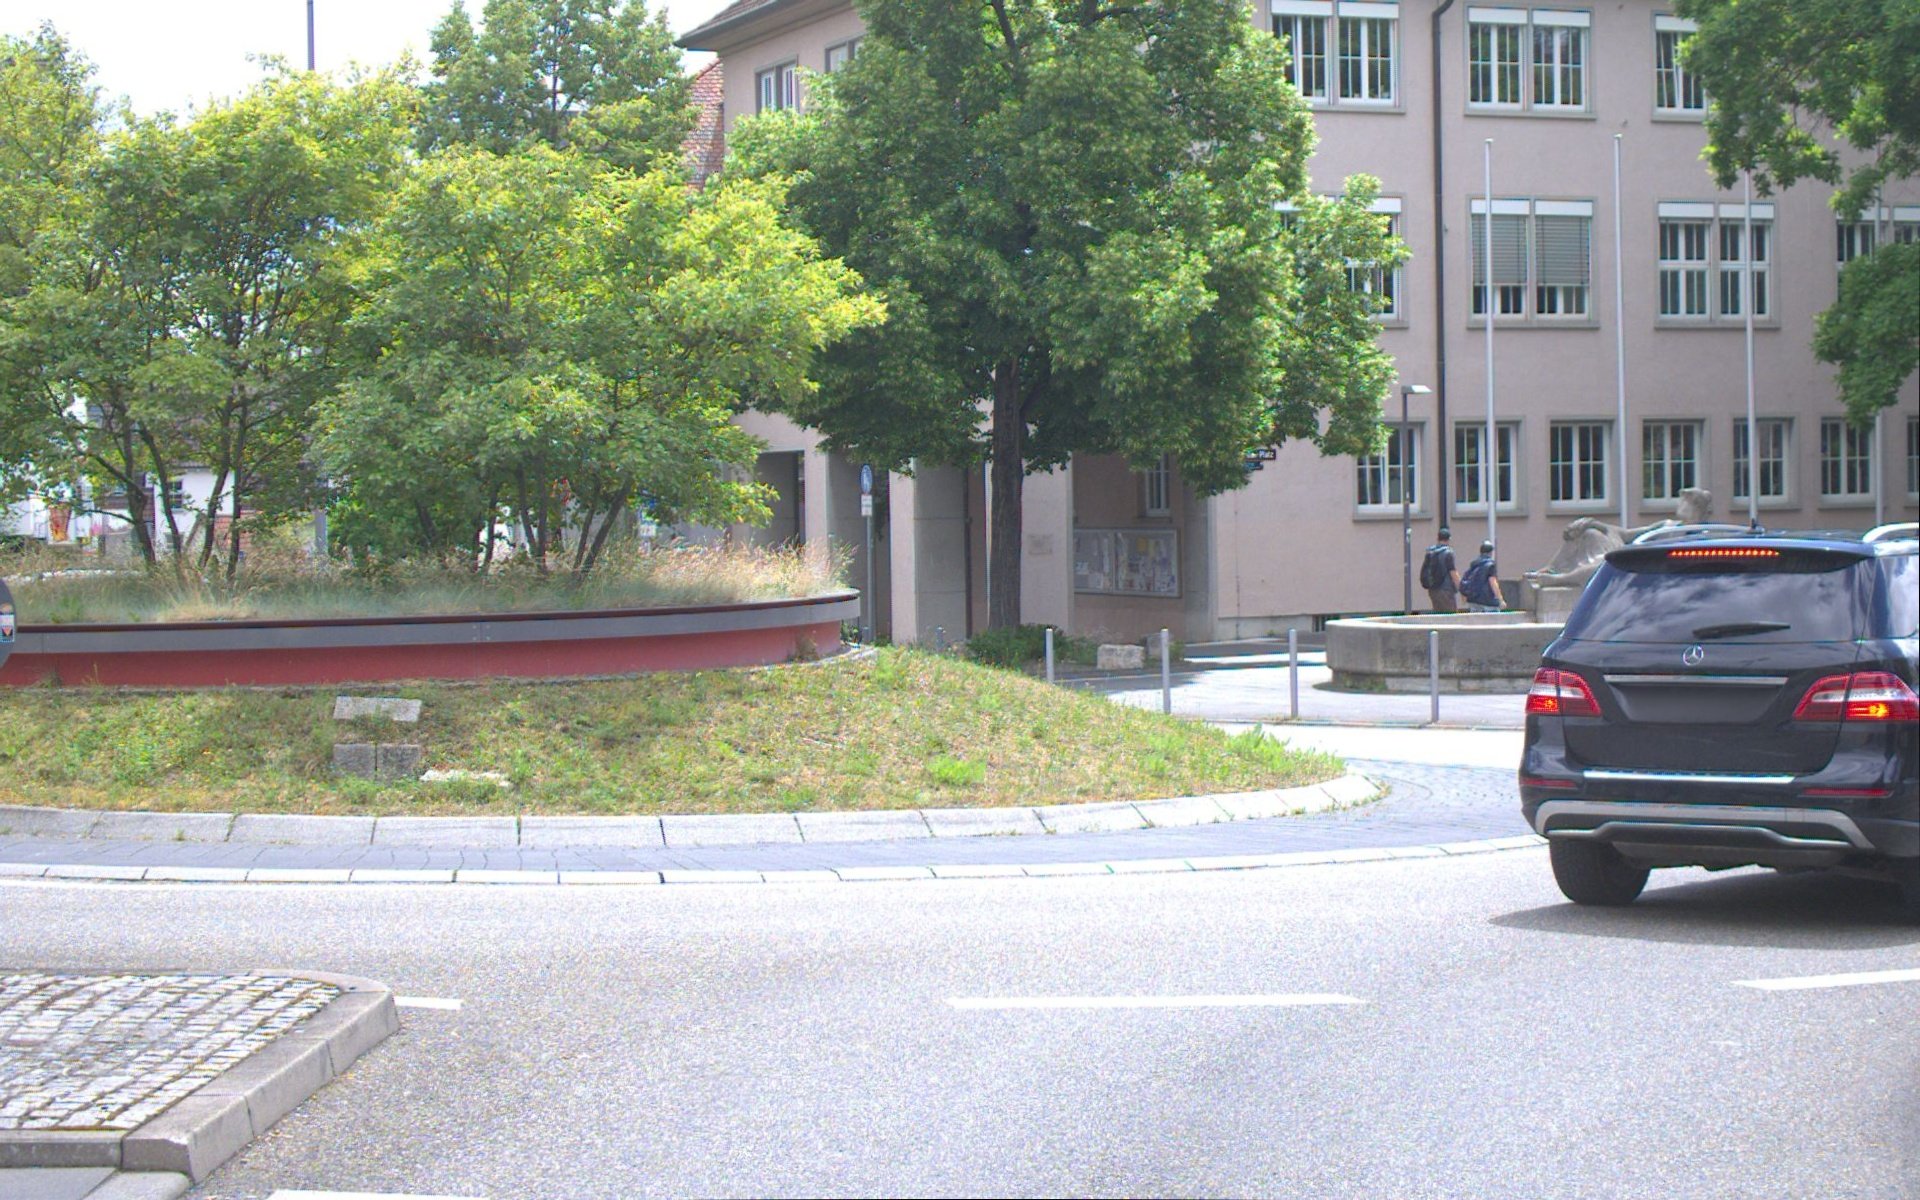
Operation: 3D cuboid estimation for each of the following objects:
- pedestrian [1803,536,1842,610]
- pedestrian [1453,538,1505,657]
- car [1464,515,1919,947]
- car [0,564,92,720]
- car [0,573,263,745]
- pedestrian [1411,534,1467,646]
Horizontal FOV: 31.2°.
[{"bbox_3d":[13.982,-0.436,55.725,0.487,1.178,0.580,1,1,28],"label":"pedestrian"},{"bbox_3d":[7.134,-0.036,47.266,0.572,1.603,0.438,0,4,-4],"label":"pedestrian"},{"bbox_3d":[4.345,0.539,16.378,2.031,1.721,4.424,2,1,35],"label":"car"},{"bbox_3d":[-11.592,0.485,36.345,4.256,1.571,1.849,-2,1,8],"label":"car"},{"bbox_3d":[-9.040,0.549,32.661,4.362,1.575,1.863,0,0,-38],"label":"car"},{"bbox_3d":[6.681,-0.144,47.967,0.636,1.518,0.577,0,5,-4],"label":"pedestrian"}]
